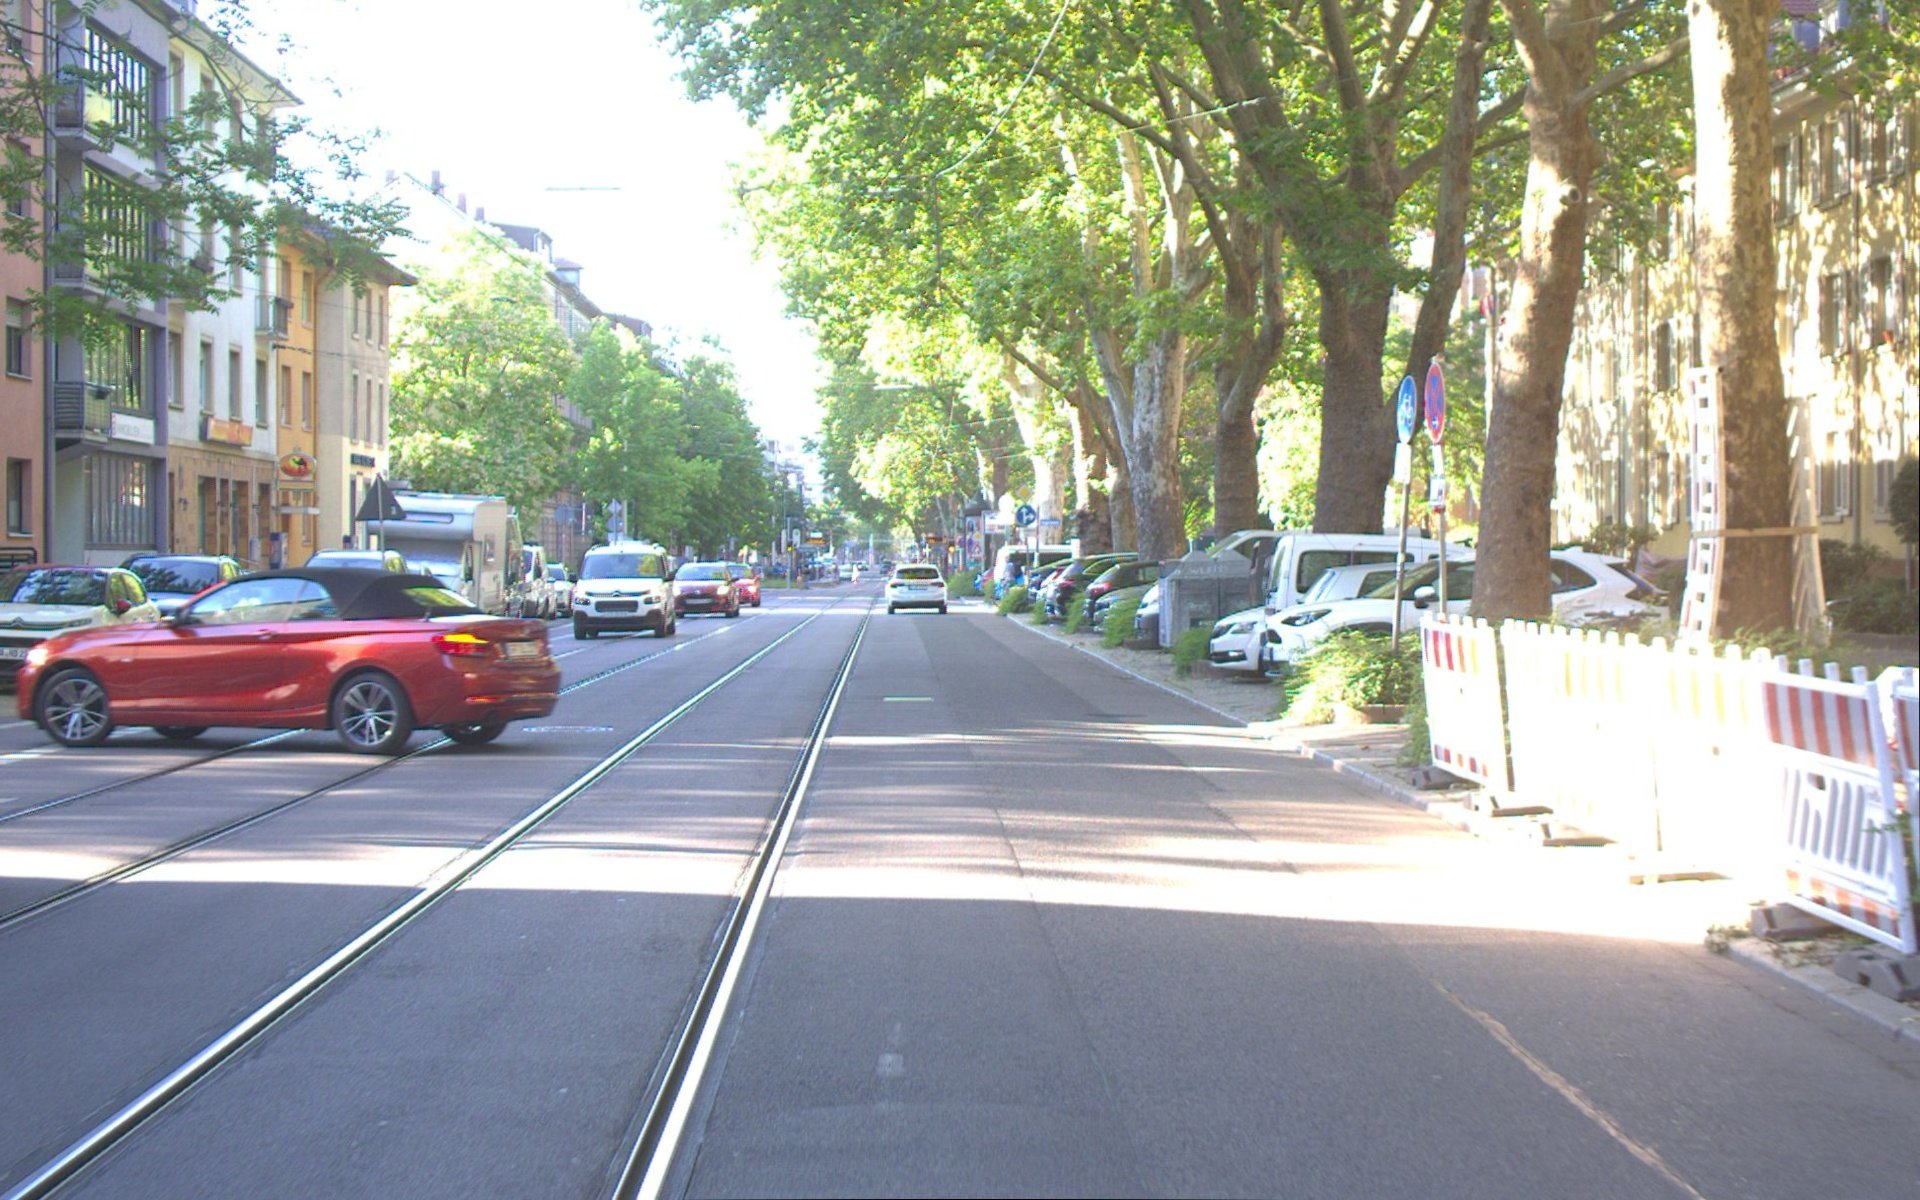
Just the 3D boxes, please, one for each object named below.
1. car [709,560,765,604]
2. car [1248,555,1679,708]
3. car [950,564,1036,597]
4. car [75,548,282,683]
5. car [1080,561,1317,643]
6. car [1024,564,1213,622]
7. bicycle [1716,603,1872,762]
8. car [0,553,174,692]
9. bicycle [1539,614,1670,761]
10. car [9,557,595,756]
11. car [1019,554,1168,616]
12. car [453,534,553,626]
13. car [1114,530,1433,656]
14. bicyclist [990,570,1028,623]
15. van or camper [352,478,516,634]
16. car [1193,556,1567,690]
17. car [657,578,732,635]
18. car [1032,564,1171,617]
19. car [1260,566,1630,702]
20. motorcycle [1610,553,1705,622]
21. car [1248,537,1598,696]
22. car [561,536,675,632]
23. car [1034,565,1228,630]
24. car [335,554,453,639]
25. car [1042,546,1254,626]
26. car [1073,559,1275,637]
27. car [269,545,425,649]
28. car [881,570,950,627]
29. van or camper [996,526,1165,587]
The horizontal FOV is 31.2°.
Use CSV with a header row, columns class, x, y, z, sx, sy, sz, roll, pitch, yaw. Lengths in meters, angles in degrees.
class,x,y,z,sx,sy,sz,roll,pitch,yaw
car,-7.572,-0.630,116.939,1.723,1.432,4.069,-1,1,-1
car,5.110,0.316,35.285,4.087,1.516,1.917,0,0,-2
car,1.515,-0.897,160.889,3.987,1.515,2.000,0,0,-1
car,-10.318,0.167,45.683,1.781,1.605,4.588,3,1,-2
car,4.403,0.029,64.004,4.247,1.478,1.898,0,1,-1
car,4.010,-0.187,87.413,4.686,1.441,1.892,0,1,-1
bicycle,6.386,0.612,26.416,0.690,1.150,1.949,0,1,-1
car,-10.555,0.228,40.046,1.806,1.473,4.090,3,0,0
bicycle,4.973,0.662,26.627,0.635,1.067,1.809,0,1,-1
car,-5.175,0.397,27.086,4.227,1.384,1.797,1,3,22
car,3.645,-0.423,94.500,3.923,1.664,1.961,0,1,-3
car,-11.303,-0.531,85.368,1.952,2.084,5.249,3,1,-3
car,4.986,-0.115,55.105,4.835,1.956,2.065,0,1,-3
bicyclist,1.594,-0.124,111.477,1.045,1.700,1.058,0,1,-10
van or camper,-11.052,-0.929,72.692,2.337,3.030,6.397,3,1,0
car,5.030,0.256,41.639,4.371,1.537,1.801,0,1,3
car,-7.155,0.163,92.976,1.775,1.453,4.203,-1,1,-1
car,3.778,-0.260,92.279,3.650,1.373,1.890,0,1,0
car,5.256,0.349,37.654,3.844,1.428,1.851,0,1,3
motorcycle,14.612,-0.270,72.016,1.803,1.356,0.622,-3,1,-3
car,5.279,0.171,39.615,3.844,1.766,1.916,0,1,3
car,-6.732,-0.328,68.065,1.891,1.826,4.896,0,1,-1
car,3.903,-0.068,79.020,4.295,1.434,1.948,0,1,-2
car,-10.866,-0.089,66.194,1.710,1.483,3.862,3,1,-2
car,4.062,-0.300,74.408,4.496,1.596,2.027,-1,0,3
car,4.205,-0.044,67.910,3.838,1.504,1.711,0,1,-1
car,-10.723,-0.084,60.446,1.952,1.680,5.071,2,1,-2
car,-1.302,-0.070,99.567,1.918,1.579,3.791,-1,1,-1
van or camper,4.130,-1.521,118.544,5.554,2.006,2.245,0,3,-5
